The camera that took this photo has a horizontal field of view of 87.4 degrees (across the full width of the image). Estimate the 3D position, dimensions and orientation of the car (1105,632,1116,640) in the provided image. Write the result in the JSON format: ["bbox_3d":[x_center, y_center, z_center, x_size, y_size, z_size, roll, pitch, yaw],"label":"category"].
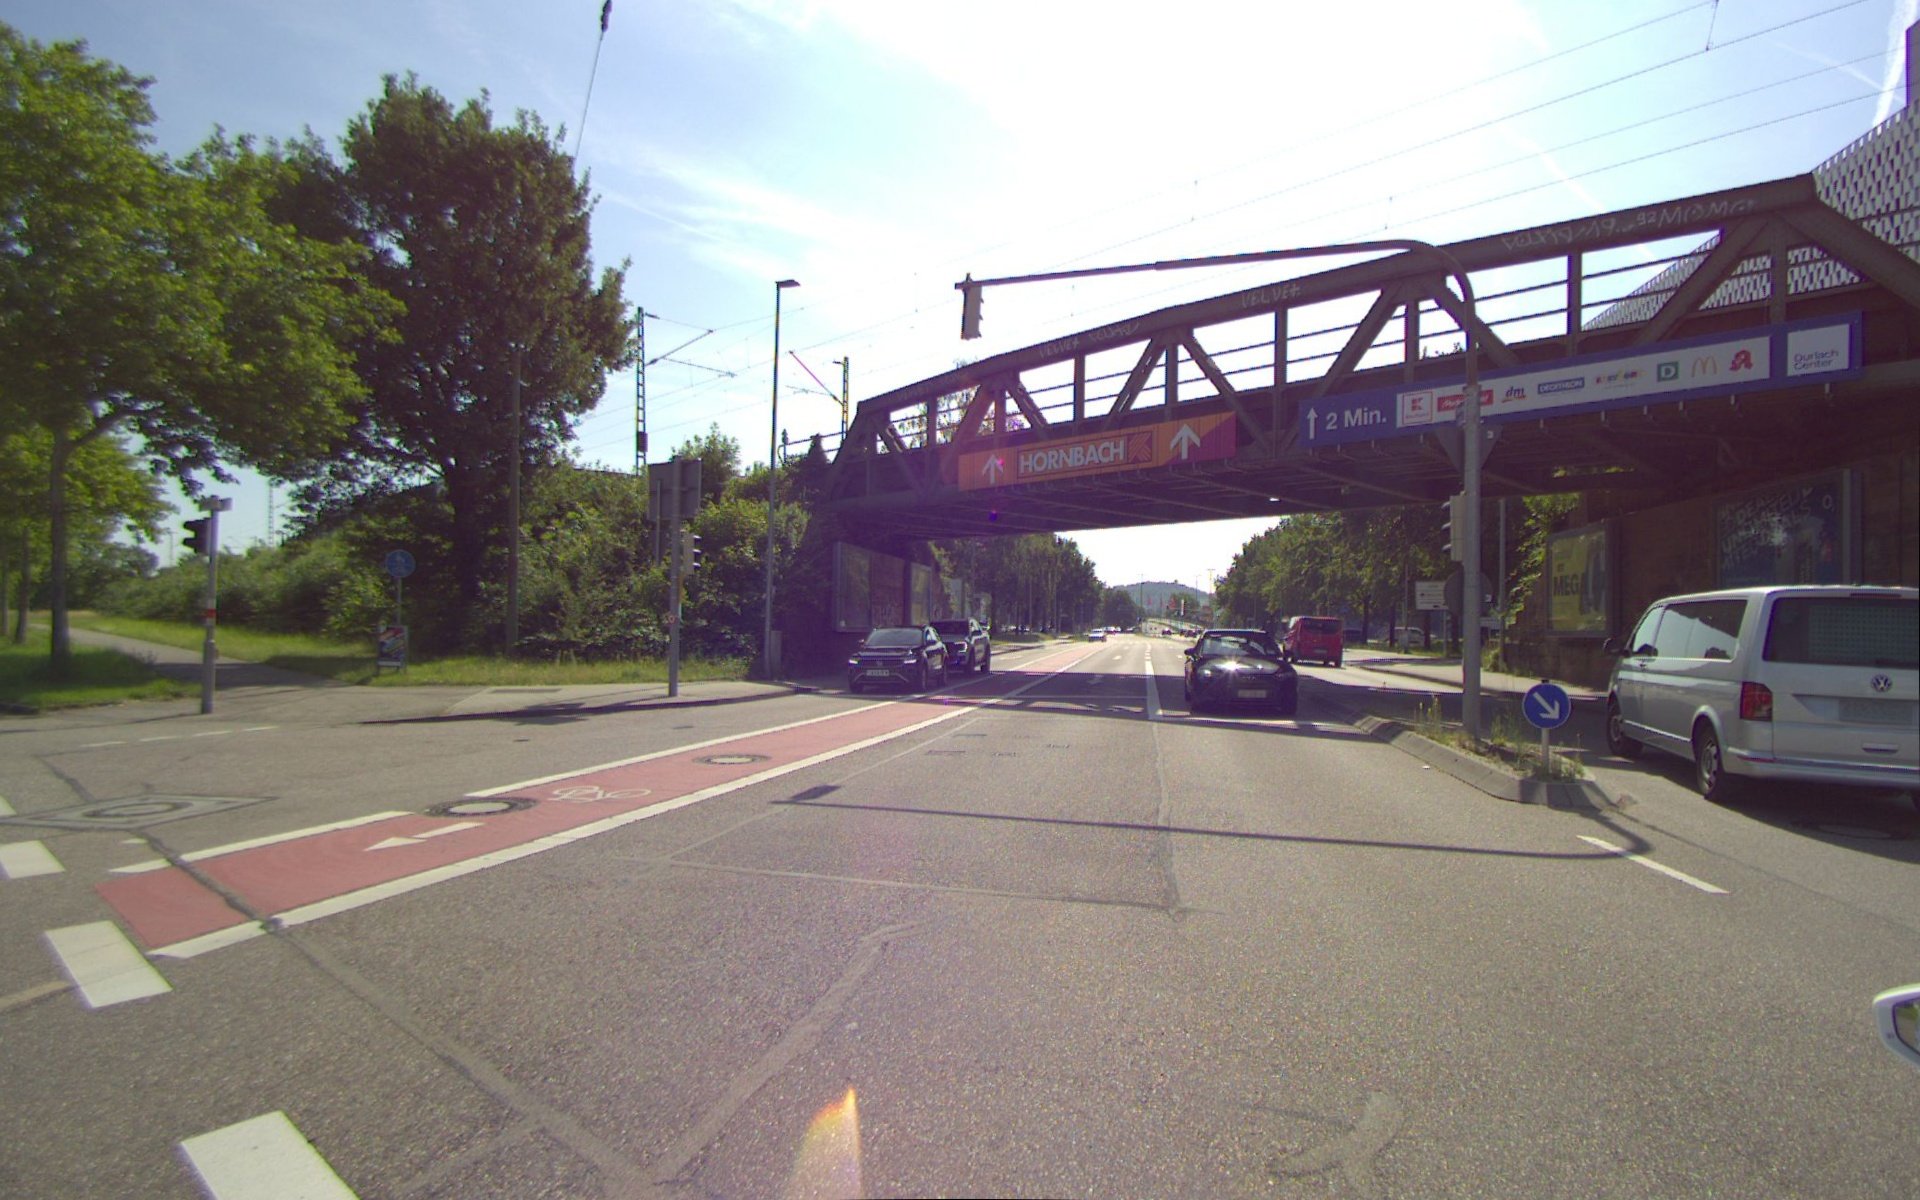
[{"bbox_3d":[28.046,6.715,187.494,1.935,1.512,4.085,1,-1,7],"label":"car"}]

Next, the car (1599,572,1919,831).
[{"bbox_3d":[8.201,0.855,10.219,1.910,1.997,5.021,1,-1,21],"label":"car"}]

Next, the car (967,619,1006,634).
[{"bbox_3d":[2.911,2.907,110.220,4.166,1.568,1.867,1,-1,4],"label":"car"}]

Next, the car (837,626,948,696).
[{"bbox_3d":[-1.539,1.415,24.334,1.786,1.500,3.946,-1,-1,10],"label":"car"}]

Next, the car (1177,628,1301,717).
[{"bbox_3d":[5.004,1.230,18.516,1.735,1.413,4.338,1,-1,9],"label":"car"}]

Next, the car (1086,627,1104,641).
[{"bbox_3d":[14.897,3.739,110.784,1.935,1.512,4.085,1,-1,7],"label":"car"}]

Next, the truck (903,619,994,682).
[{"bbox_3d":[-0.261,1.568,32.501,1.991,1.843,5.329,-1,-1,10],"label":"truck"}]

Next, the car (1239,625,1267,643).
[{"bbox_3d":[24.417,2.786,83.832,1.756,1.415,4.328,1,-1,9],"label":"car"}]

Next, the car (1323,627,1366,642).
[{"bbox_3d":[38.472,3.469,100.585,3.735,1.435,1.703,1,-1,12],"label":"car"}]

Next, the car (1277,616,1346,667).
[{"bbox_3d":[14.618,1.688,42.019,1.934,1.950,4.564,1,-1,9],"label":"car"}]
